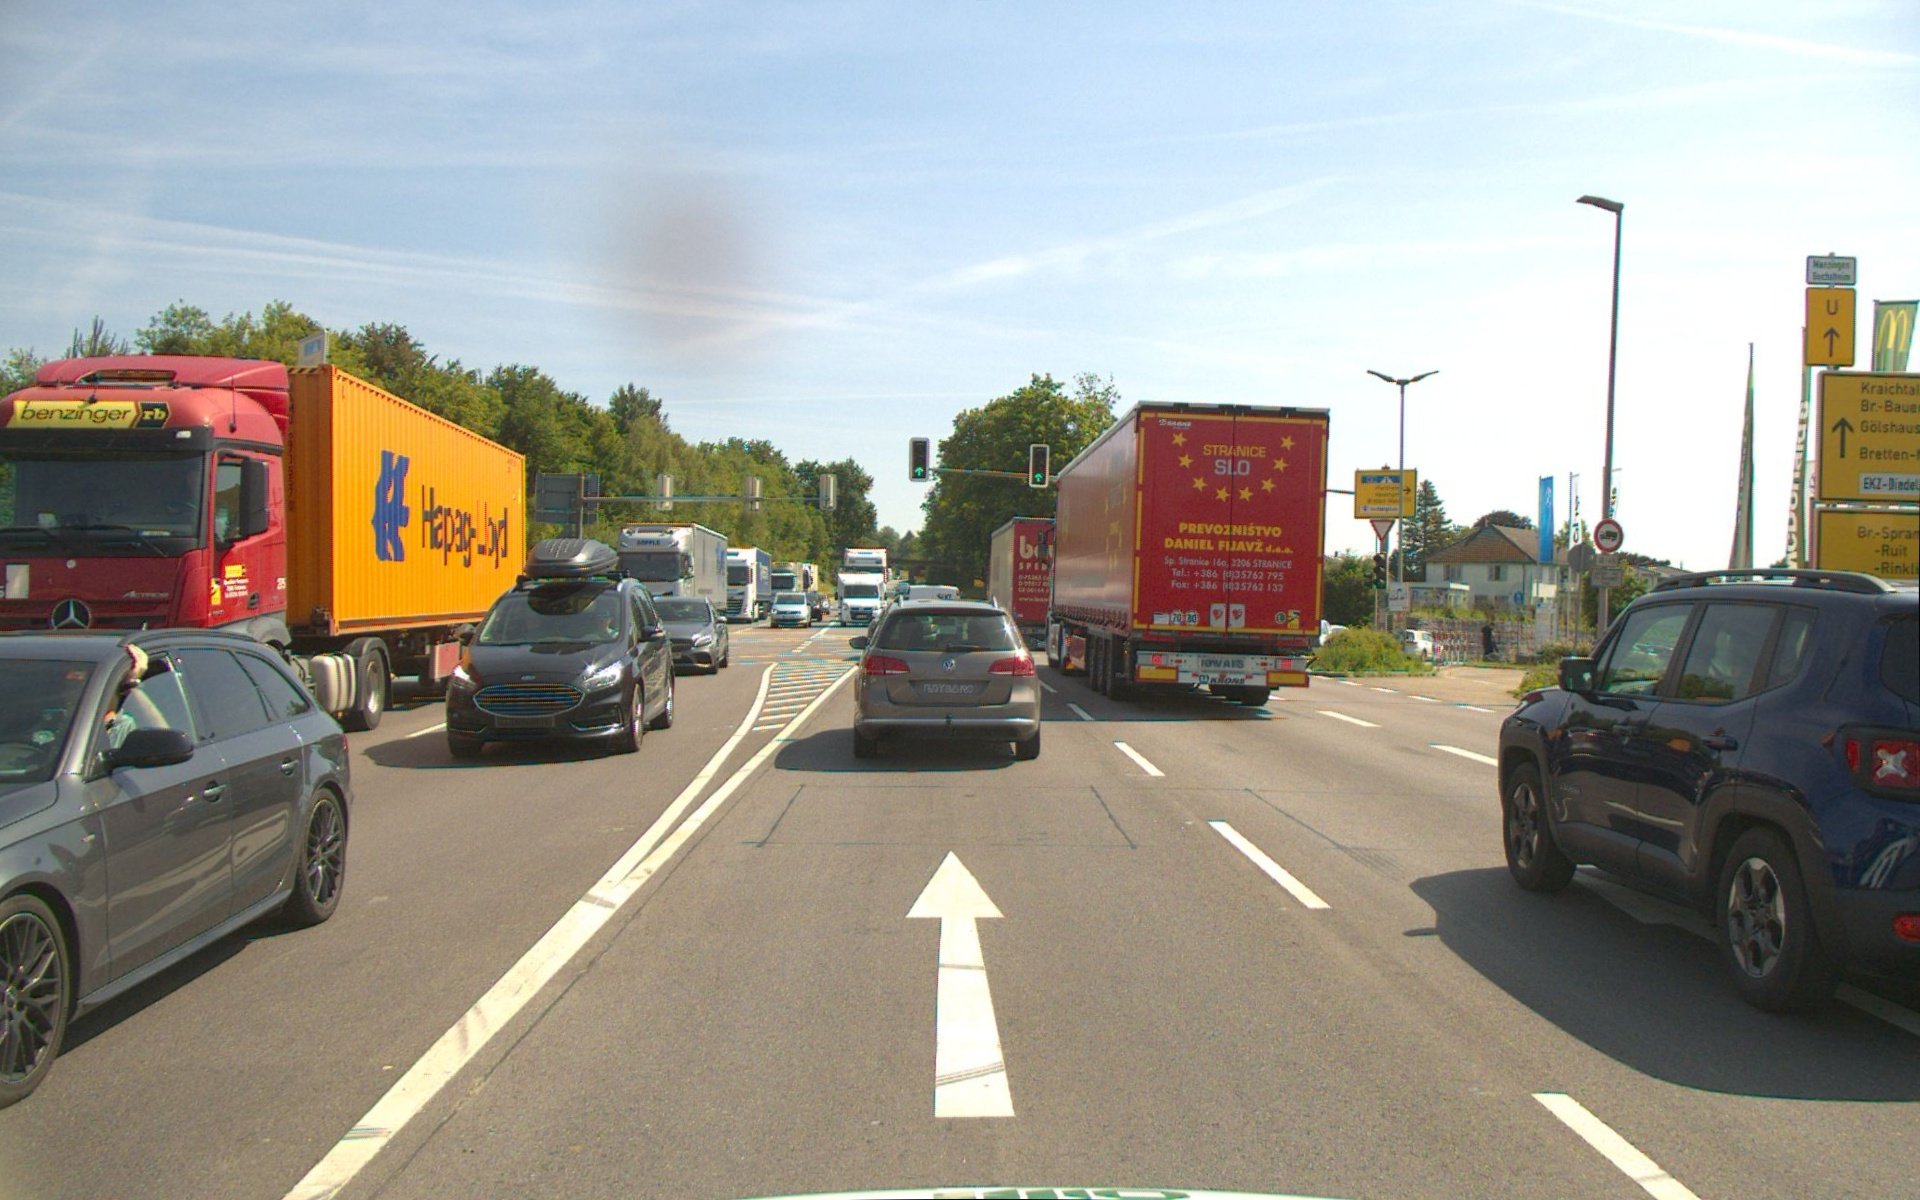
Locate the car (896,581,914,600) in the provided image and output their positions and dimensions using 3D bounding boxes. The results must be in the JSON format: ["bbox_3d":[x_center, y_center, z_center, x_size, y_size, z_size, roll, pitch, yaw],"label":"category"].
[{"bbox_3d":[-6.211,-1.075,185.708,1.954,2.049,3.997,0,0,-3],"label":"car"}]

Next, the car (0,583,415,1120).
[{"bbox_3d":[-3.736,0.725,6.358,1.824,1.550,4.588,-1,1,-1],"label":"car"}]

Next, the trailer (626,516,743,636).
[{"bbox_3d":[-10.686,-0.864,65.693,2.637,4.220,13.875,0,0,-1],"label":"trailer"}]

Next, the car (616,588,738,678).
[{"bbox_3d":[-5.610,0.592,33.291,1.883,1.630,4.586,-1,1,-3],"label":"car"}]

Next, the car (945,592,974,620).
[{"bbox_3d":[-0.081,0.419,124.963,1.954,2.049,3.997,0,0,-3],"label":"car"}]

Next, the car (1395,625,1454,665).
[{"bbox_3d":[20.668,1.994,73.563,1.741,1.602,3.703,3,0,27],"label":"car"}]

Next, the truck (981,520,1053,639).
[{"bbox_3d":[2.067,-0.728,61.534,2.357,4.200,5.520,0,0,-1],"label":"truck"}]

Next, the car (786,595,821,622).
[{"bbox_3d":[-9.117,0.465,96.294,1.955,1.511,4.449,0,0,-5],"label":"car"}]

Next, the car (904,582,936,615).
[{"bbox_3d":[-2.592,-0.098,106.108,1.954,2.049,3.997,0,0,-3],"label":"car"}]

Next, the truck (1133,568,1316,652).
[{"bbox_3d":[14.533,0.579,90.717,9.527,3.691,2.752,6,-2,-20],"label":"truck"}]

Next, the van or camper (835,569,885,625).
[{"bbox_3d":[-4.932,-0.144,82.360,2.283,2.646,6.975,0,0,-2],"label":"van or camper"}]

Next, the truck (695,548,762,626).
[{"bbox_3d":[-12.633,-0.698,90.795,3.124,4.151,6.341,0,0,-3],"label":"truck"}]

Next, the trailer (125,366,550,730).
[{"bbox_3d":[-8.503,-0.589,24.730,2.667,4.068,12.222,0,0,-5],"label":"trailer"}]

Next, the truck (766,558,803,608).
[{"bbox_3d":[-15.004,-1.413,141.634,2.675,4.069,9.613,0,0,-3],"label":"truck"}]

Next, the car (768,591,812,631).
[{"bbox_3d":[-8.125,0.480,79.380,1.806,1.763,4.586,2,1,-3],"label":"car"}]

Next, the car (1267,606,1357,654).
[{"bbox_3d":[13.028,1.120,61.097,1.958,1.602,3.990,3,0,32],"label":"car"}]

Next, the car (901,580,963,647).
[{"bbox_3d":[-0.904,0.395,51.175,1.735,1.970,3.975,0,0,-3],"label":"car"}]

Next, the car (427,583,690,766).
[{"bbox_3d":[-4.067,0.656,17.526,1.870,1.630,4.586,-1,1,-3],"label":"car"}]

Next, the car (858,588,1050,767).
[{"bbox_3d":[-0.166,0.669,16.291,1.658,1.539,3.997,0,0,-3],"label":"car"}]

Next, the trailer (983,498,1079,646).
[{"bbox_3d":[2.169,-0.827,54.762,2.346,4.317,13.074,0,0,-1],"label":"trailer"}]

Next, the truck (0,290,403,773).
[{"bbox_3d":[-7.864,-0.579,16.969,2.667,4.068,6.051,0,0,-5],"label":"truck"}]

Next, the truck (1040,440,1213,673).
[{"bbox_3d":[3.325,-0.838,34.582,2.812,4.355,5.838,2,0,-1],"label":"truck"}]

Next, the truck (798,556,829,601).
[{"bbox_3d":[-14.192,-2.056,161.044,2.773,4.188,9.675,0,0,-4],"label":"truck"}]

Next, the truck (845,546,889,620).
[{"bbox_3d":[-5.435,-0.980,96.108,2.487,4.159,6.260,0,0,-4],"label":"truck"}]

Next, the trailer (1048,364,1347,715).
[{"bbox_3d":[3.435,-0.789,27.997,2.782,4.441,13.164,2,0,-1],"label":"trailer"}]

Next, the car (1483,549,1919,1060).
[{"bbox_3d":[3.890,0.673,7.472,1.734,1.683,3.999,0,0,-1],"label":"car"}]

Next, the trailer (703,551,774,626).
[{"bbox_3d":[-13.000,-0.637,98.150,3.031,4.151,14.118,0,0,-3],"label":"trailer"}]

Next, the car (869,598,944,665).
[{"bbox_3d":[-1.347,0.726,40.471,1.735,1.539,3.997,0,0,-3],"label":"car"}]

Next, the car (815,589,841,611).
[{"bbox_3d":[-9.630,0.000,120.743,1.690,1.528,3.999,0,0,-1],"label":"car"}]

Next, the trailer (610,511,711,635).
[{"bbox_3d":[-10.540,-0.910,58.754,2.592,4.177,6.179,0,0,-1],"label":"trailer"}]

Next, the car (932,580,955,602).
[{"bbox_3d":[-1.571,-0.838,152.712,1.954,2.049,3.997,0,0,-3],"label":"car"}]
